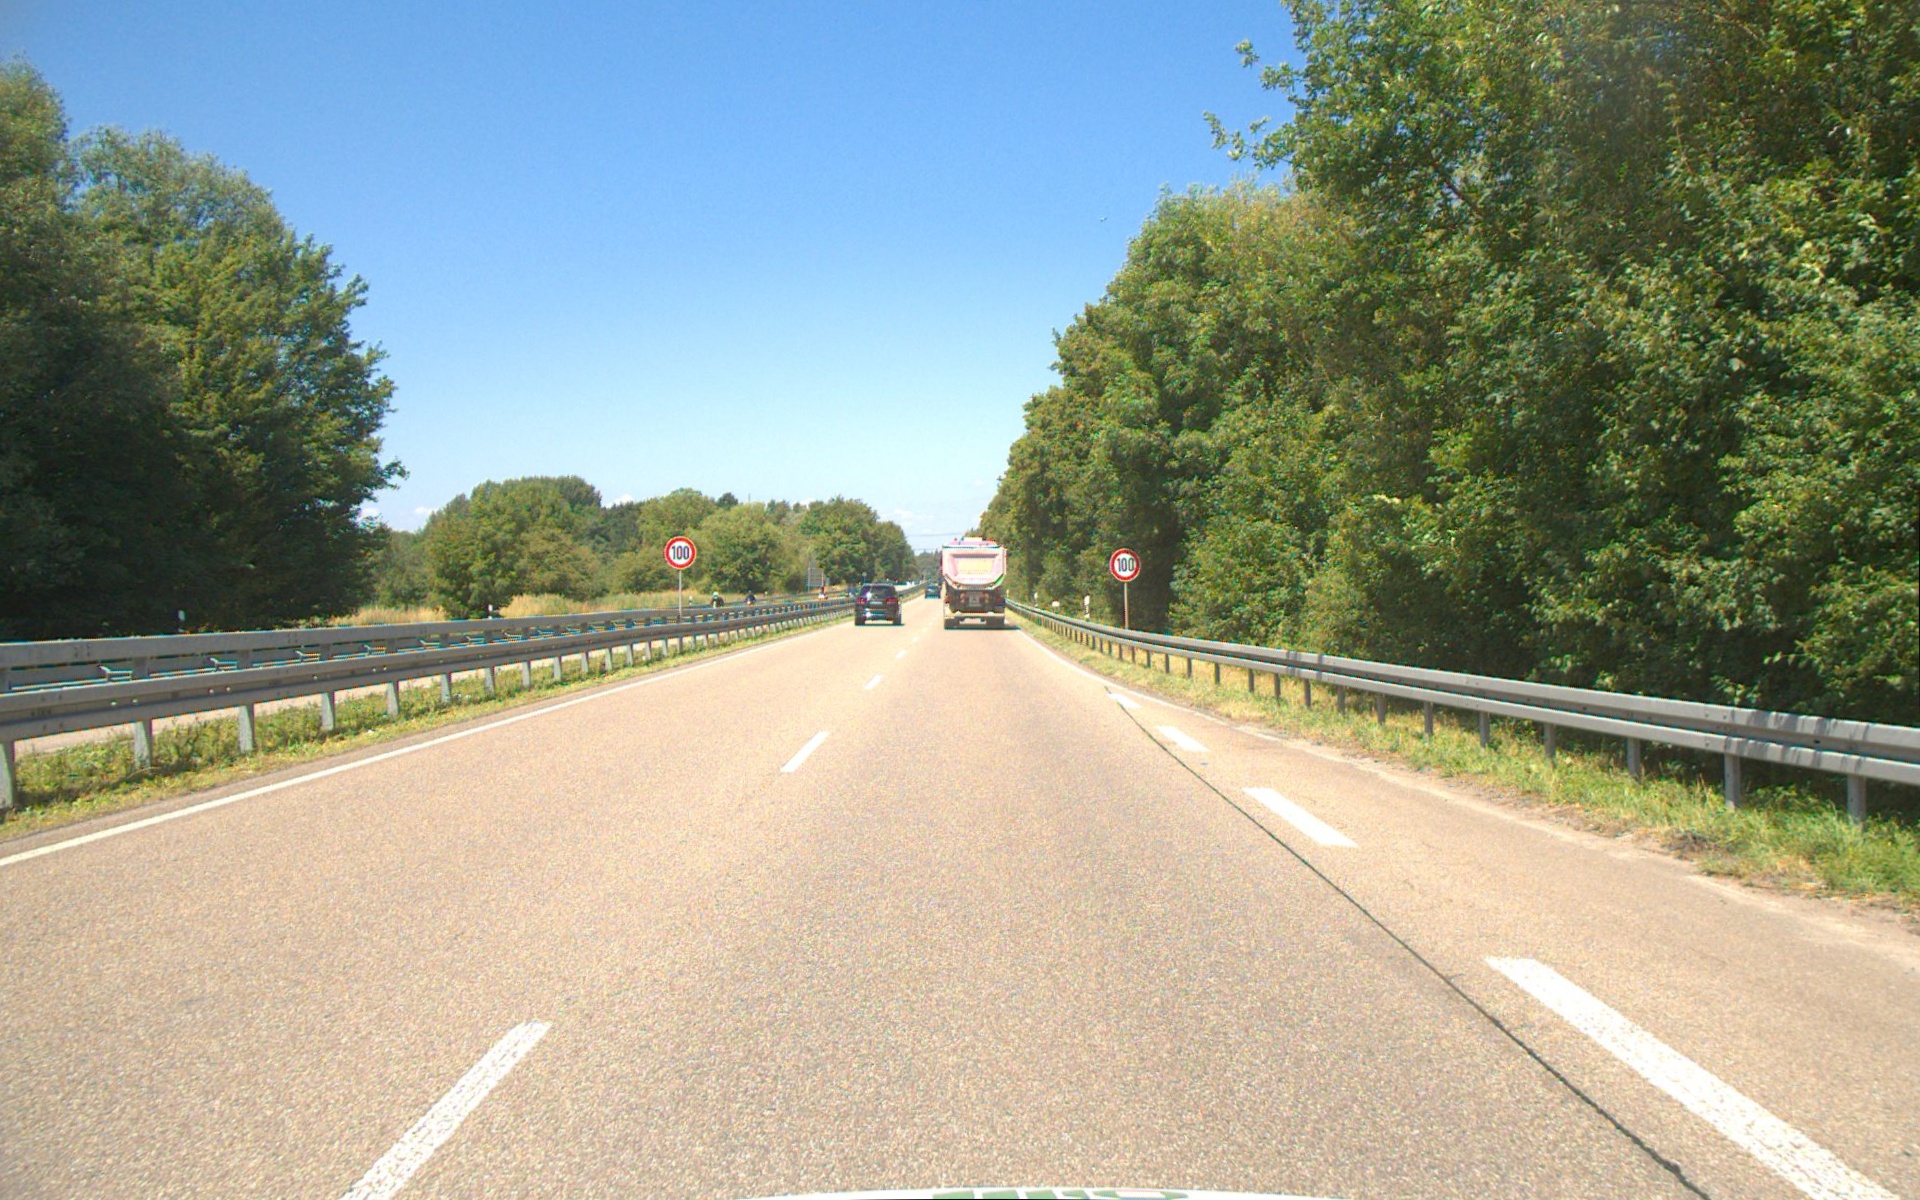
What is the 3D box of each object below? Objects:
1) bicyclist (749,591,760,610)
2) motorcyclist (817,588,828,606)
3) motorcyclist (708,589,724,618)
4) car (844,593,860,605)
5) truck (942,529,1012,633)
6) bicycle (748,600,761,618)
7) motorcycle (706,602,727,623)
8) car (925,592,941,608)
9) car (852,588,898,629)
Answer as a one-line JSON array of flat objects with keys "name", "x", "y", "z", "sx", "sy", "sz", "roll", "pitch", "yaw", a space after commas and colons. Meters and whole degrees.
[{"name": "bicyclist", "x": -13.544, "y": 0.036, "z": 109.019, "sx": 0.601, "sy": 1.299, "sz": 0.608, "roll": 0, "pitch": 0, "yaw": 0}, {"name": "motorcyclist", "x": -12.734, "y": -0.292, "z": 152.982, "sx": 0.926, "sy": 1.645, "sz": 0.809, "roll": -1, "pitch": 0, "yaw": -1}, {"name": "motorcyclist", "x": -12.704, "y": 0.203, "z": 86.202, "sx": 0.703, "sy": 1.508, "sz": 0.809, "roll": 0, "pitch": 0, "yaw": 1}, {"name": "car", "x": -12.759, "y": -0.152, "z": 195.880, "sx": 1.595, "sy": 1.355, "sz": 3.535, "roll": 0, "pitch": 0, "yaw": 0}, {"name": "truck", "x": 0.595, "y": -0.806, "z": 69.811, "sx": 2.665, "sy": 3.998, "sz": 12.368, "roll": 0, "pitch": 1, "yaw": -1}, {"name": "bicycle", "x": -13.545, "y": 0.564, "z": 109.012, "sx": 0.601, "sy": 1.178, "sz": 2.280, "roll": 0, "pitch": 0, "yaw": 0}, {"name": "motorcycle", "x": -12.683, "y": 0.653, "z": 86.146, "sx": 0.711, "sy": 1.083, "sz": 2.667, "roll": 0, "pitch": 0, "yaw": 0}, {"name": "car", "x": -3.052, "y": -0.034, "z": 186.308, "sx": 1.820, "sy": 1.748, "sz": 3.999, "roll": 0, "pitch": -1, "yaw": -1}, {"name": "car", "x": -3.659, "y": 0.382, "z": 71.542, "sx": 1.820, "sy": 1.700, "sz": 3.999, "roll": 0, "pitch": -1, "yaw": -1}]
